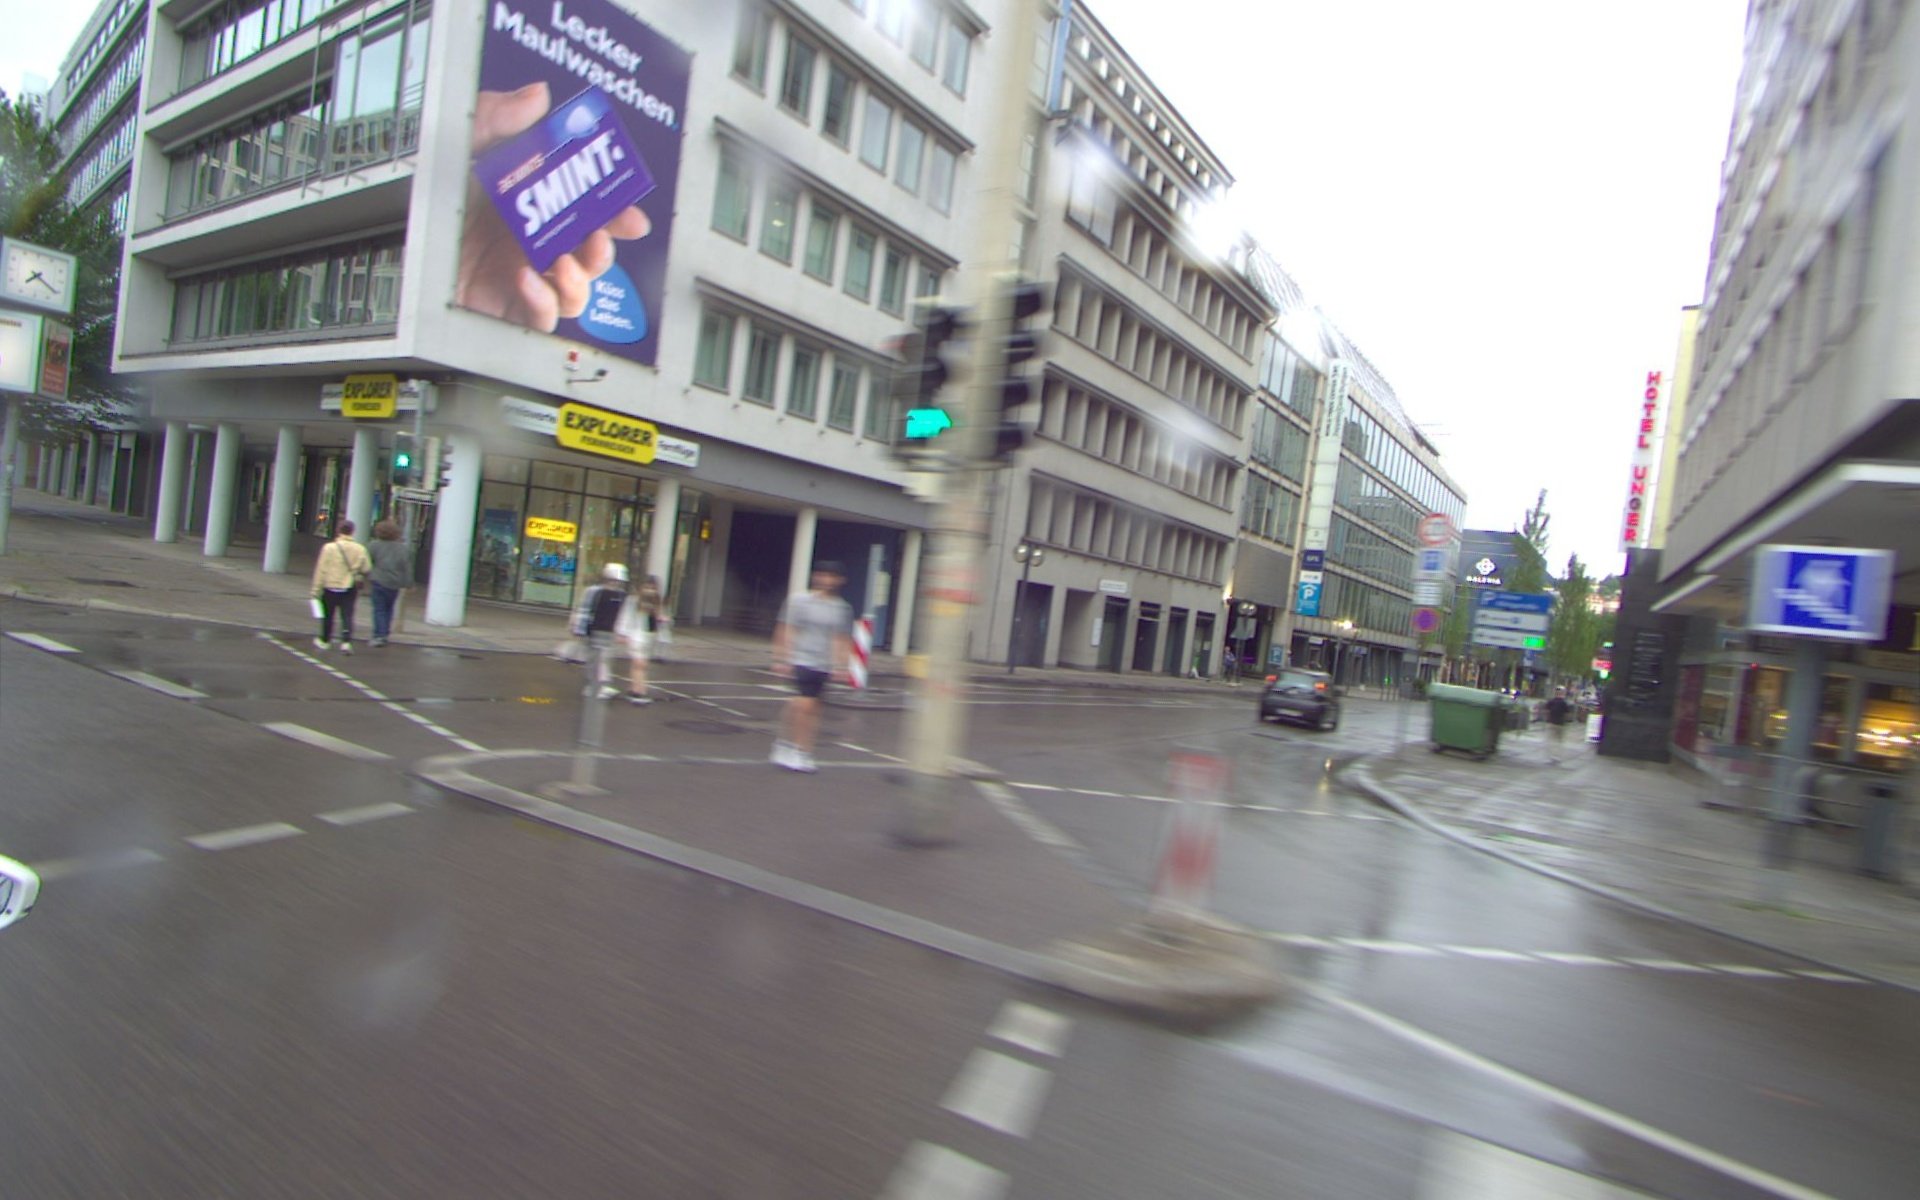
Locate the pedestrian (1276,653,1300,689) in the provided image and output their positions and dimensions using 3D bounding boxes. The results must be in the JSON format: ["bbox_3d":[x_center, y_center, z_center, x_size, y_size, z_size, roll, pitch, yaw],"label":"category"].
[{"bbox_3d":[18.266,3.955,56.025,0.806,1.895,0.853,7,0,35],"label":"pedestrian"}]

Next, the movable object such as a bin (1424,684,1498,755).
[{"bbox_3d":[11.416,2.705,22.917,1.180,1.400,1.100,8,1,37],"label":"movable object such as a bin"}]

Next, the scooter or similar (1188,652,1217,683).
[{"bbox_3d":[11.229,3.141,46.575,1.176,1.304,0.242,7,0,-14],"label":"scooter or similar"}]

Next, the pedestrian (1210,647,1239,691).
[{"bbox_3d":[12.126,3.148,46.107,0.806,1.895,0.853,7,0,35],"label":"pedestrian"}]

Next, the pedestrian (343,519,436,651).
[{"bbox_3d":[-8.404,-0.217,14.819,0.804,1.820,0.748,8,1,36],"label":"pedestrian"}]

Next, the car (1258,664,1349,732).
[{"bbox_3d":[9.017,2.527,26.200,1.548,1.446,3.997,6,-2,27],"label":"car"}]

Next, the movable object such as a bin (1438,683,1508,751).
[{"bbox_3d":[12.280,2.787,24.082,1.180,1.400,1.100,8,1,37],"label":"movable object such as a bin"}]

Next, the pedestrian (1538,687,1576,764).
[{"bbox_3d":[14.331,2.999,24.168,0.586,1.752,0.771,7,0,29],"label":"pedestrian"}]

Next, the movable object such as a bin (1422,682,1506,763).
[{"bbox_3d":[10.532,2.536,21.018,1.261,1.447,0.966,8,1,37],"label":"movable object such as a bin"}]

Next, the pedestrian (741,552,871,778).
[{"bbox_3d":[-1.328,0.539,8.601,0.664,1.816,0.767,7,0,-31],"label":"pedestrian"}]

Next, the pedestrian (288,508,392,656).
[{"bbox_3d":[-8.155,-0.232,13.237,0.804,1.820,0.748,8,1,36],"label":"pedestrian"}]

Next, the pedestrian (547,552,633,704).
[{"bbox_3d":[-4.351,0.323,11.807,0.664,1.675,0.648,7,0,-31],"label":"pedestrian"}]

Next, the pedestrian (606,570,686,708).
[{"bbox_3d":[-3.799,0.463,12.160,0.619,1.561,0.648,7,0,-31],"label":"pedestrian"}]

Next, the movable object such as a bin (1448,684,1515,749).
[{"bbox_3d":[12.963,2.881,25.001,1.180,1.400,1.100,8,1,37],"label":"movable object such as a bin"}]
